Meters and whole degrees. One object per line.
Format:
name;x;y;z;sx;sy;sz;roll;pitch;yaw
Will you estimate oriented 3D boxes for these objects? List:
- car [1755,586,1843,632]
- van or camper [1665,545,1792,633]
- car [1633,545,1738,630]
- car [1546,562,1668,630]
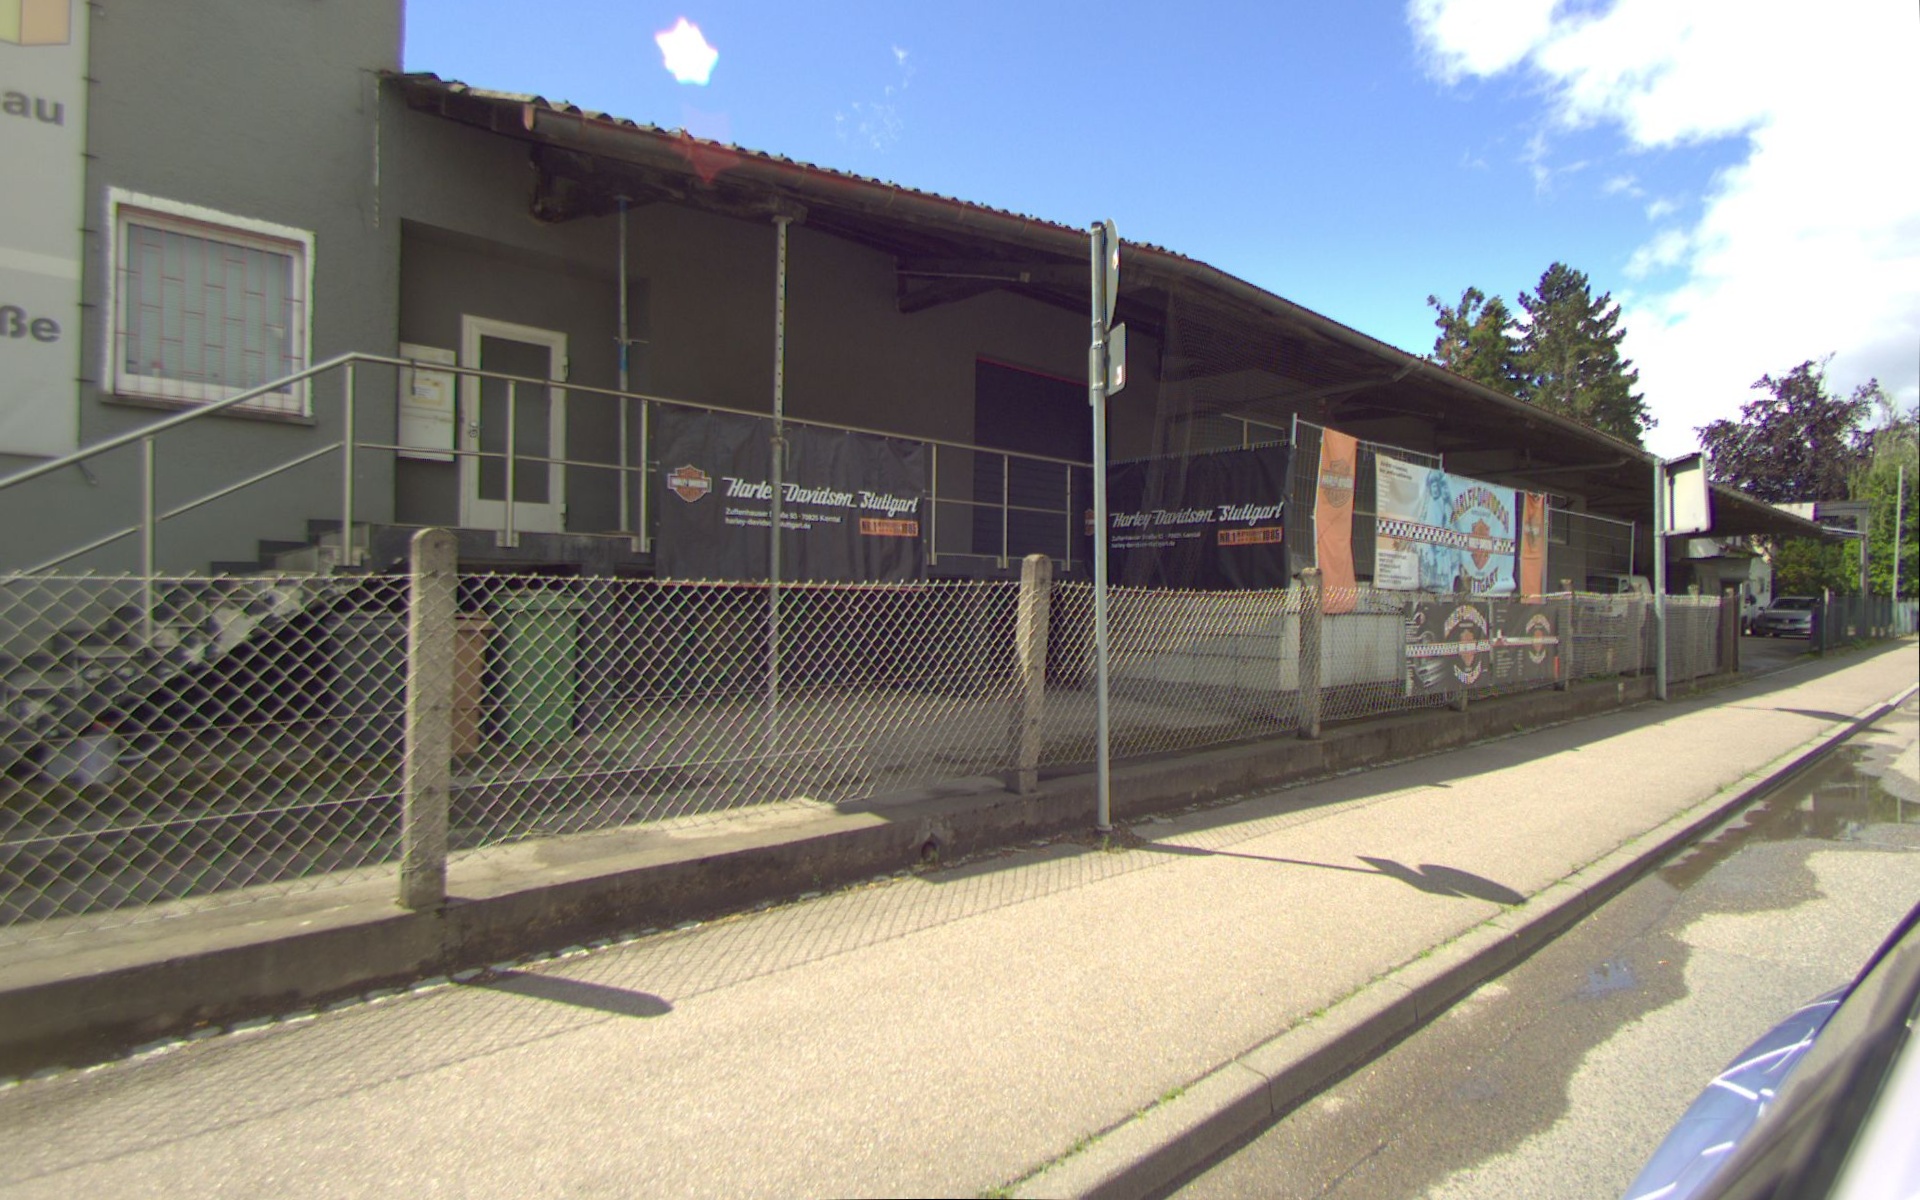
car;29.590;0.314;35.657;4.842;1.508;1.766;1;0;-43
van or camper;29.621;-0.413;38.918;6.798;3.099;2.883;0;0;-44
car;25.169;-0.359;35.013;5.405;2.715;2.019;2;-1;-44
car;19.808;-0.096;30.903;4.770;1.934;1.996;1;0;-43
